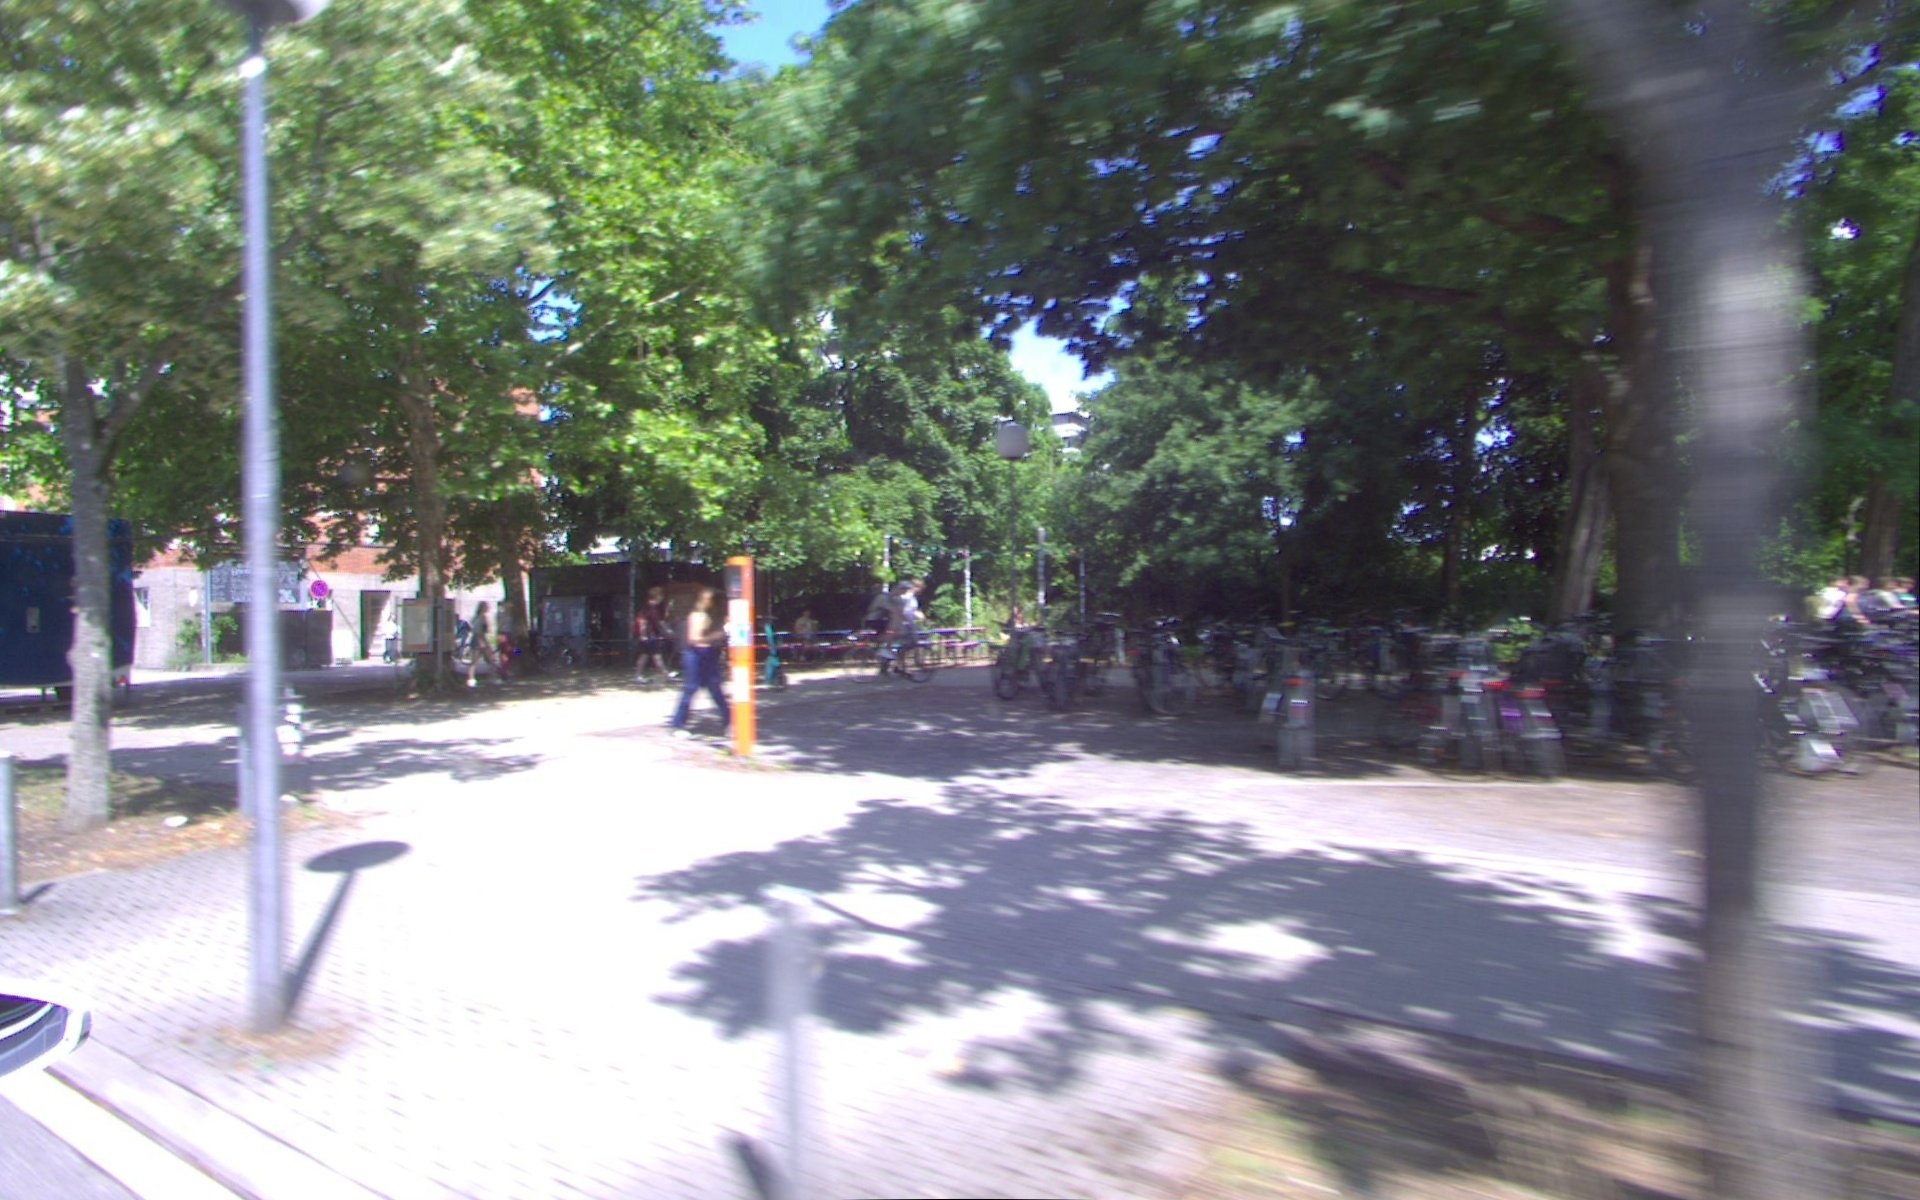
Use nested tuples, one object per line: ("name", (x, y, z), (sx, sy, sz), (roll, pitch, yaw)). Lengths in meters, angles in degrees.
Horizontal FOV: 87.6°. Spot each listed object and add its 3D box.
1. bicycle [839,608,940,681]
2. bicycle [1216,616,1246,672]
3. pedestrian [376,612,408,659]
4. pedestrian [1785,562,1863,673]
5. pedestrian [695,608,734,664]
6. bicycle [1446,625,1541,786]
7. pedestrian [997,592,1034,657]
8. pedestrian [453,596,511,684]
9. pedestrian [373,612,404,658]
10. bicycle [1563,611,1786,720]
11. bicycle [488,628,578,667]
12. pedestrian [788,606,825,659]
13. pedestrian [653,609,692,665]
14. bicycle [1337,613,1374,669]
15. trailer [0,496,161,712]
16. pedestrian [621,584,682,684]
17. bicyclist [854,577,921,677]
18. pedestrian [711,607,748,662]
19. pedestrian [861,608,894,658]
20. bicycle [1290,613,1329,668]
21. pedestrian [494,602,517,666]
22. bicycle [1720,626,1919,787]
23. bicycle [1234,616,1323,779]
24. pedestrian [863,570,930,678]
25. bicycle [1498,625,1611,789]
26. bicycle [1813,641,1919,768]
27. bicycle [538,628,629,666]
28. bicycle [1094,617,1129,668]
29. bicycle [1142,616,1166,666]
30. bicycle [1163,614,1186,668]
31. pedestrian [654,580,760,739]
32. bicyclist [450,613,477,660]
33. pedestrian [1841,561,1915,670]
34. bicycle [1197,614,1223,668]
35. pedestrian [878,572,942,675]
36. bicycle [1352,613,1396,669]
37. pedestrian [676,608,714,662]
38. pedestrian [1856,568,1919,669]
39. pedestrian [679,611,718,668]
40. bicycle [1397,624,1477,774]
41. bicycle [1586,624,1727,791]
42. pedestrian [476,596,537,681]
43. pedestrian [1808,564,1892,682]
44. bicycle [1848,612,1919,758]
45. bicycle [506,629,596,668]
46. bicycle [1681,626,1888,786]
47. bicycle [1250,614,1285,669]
("bicycle", (-1.255, 0.793, 17.870), (1.705, 1.269, 0.531), (-1, 2, 12))
("bicycle", (5.468, 0.866, 20.275), (0.426, 1.053, 1.783), (-1, 0, 10))
("pedestrian", (-19.901, 1.246, 35.080), (0.669, 1.628, 0.657), (-1, 0, 17))
("pedestrian", (14.345, 0.287, 16.646), (0.708, 1.798, 0.744), (0, 1, 16))
("pedestrian", (-6.222, 0.903, 25.362), (0.718, 1.365, 0.568), (0, 3, 27))
("bicycle", (4.221, 0.768, 8.015), (0.397, 1.096, 1.946), (0, 0, 20))
("pedestrian", (1.409, 0.613, 25.537), (0.707, 1.604, 0.665), (0, 3, 27))
("pedestrian", (-9.380, 0.775, 19.664), (0.777, 1.683, 0.696), (-1, 0, 32))
("pedestrian", (-20.472, 1.244, 35.877), (0.669, 1.628, 0.657), (-1, 0, 17))
("bicycle", (7.474, 0.683, 10.540), (1.868, 1.097, 0.478), (-1, 1, 11))
("bicycle", (-12.793, 1.410, 30.049), (0.775, 1.085, 2.382), (-2, -1, 44))
("pedestrian", (-4.103, 0.868, 26.765), (0.708, 1.365, 0.665), (0, 3, 27))
("pedestrian", (-7.237, 0.930, 25.213), (0.718, 1.365, 0.568), (0, 3, 27))
("bicycle", (7.984, 0.813, 20.263), (0.341, 1.053, 1.752), (-1, 0, 10))
("trailer", (-16.154, 0.103, 16.456), (6.165, 3.092, 2.687), (-1, 0, 31))
("pedestrian", (-5.974, 0.650, 19.397), (0.812, 1.879, 0.763), (-1, 0, 32))
("bicyclist", (-1.295, 0.480, 17.867), (1.058, 1.753, 0.531), (-1, 2, 12))
("pedestrian", (-5.953, 0.880, 25.874), (0.718, 1.365, 0.568), (0, 3, 27))
("pedestrian", (-2.207, 0.864, 26.768), (0.612, 1.289, 0.665), (0, 3, 27))
("bicycle", (7.221, 0.812, 20.727), (0.469, 1.053, 1.831), (-1, 0, 10))
("pedestrian", (-13.677, 1.012, 30.126), (0.523, 1.907, 0.445), (0, -1, 42))
("bicycle", (6.697, 0.755, 7.838), (0.319, 1.073, 1.913), (0, 0, 9))
("bicycle", (2.724, 0.738, 8.454), (0.640, 1.182, 2.017), (0, 0, 20))
("pedestrian", (-1.181, 0.446, 18.787), (1.058, 1.975, 0.834), (-1, 2, 11))
("bicycle", (4.622, 0.762, 7.878), (0.397, 1.096, 1.946), (0, 0, 20))
("bicycle", (7.470, 0.804, 7.649), (0.485, 0.921, 1.738), (0, 0, 3))
("bicycle", (-10.939, 1.359, 29.152), (0.775, 1.085, 2.383), (-2, -3, 43))
("bicycle", (3.220, 0.874, 21.166), (0.601, 0.992, 1.958), (-1, 0, 12))
("bicycle", (4.140, 0.848, 21.336), (0.430, 0.992, 1.958), (-1, 0, 12))
("bicycle", (4.536, 0.847, 21.134), (0.427, 1.053, 1.958), (-1, 0, 12))
("pedestrian", (-2.649, 0.604, 10.498), (0.914, 1.592, 0.567), (-1, 1, 32))
("bicyclist", (-17.233, 1.255, 34.763), (0.609, 1.628, 0.659), (0, -1, 4))
("pedestrian", (15.661, 0.258, 17.101), (0.709, 1.798, 0.742), (0, 1, 24))
("bicycle", (5.262, 0.833, 21.115), (0.469, 1.053, 1.958), (-1, 0, 12))
("pedestrian", (-0.979, 0.452, 19.794), (1.058, 1.975, 0.834), (-1, 2, 11))
("bicycle", (8.332, 0.807, 20.199), (0.469, 1.053, 1.752), (-1, 0, 10))
("pedestrian", (-6.861, 0.897, 25.932), (0.718, 1.365, 0.568), (0, 3, 27))
("pedestrian", (16.954, 0.327, 18.171), (0.707, 1.798, 0.744), (0, 1, 6))
("pedestrian", (-6.487, 0.970, 24.850), (0.718, 1.365, 0.568), (0, 3, 27))
("bicycle", (3.967, 0.762, 8.402), (0.431, 1.096, 1.769), (0, 0, 20))
("bicycle", (5.305, 0.747, 7.727), (0.397, 1.096, 1.946), (0, 0, 20))
("pedestrian", (-9.167, 0.761, 20.249), (0.812, 1.683, 0.763), (-1, 0, 32))
("pedestrian", (13.989, 0.353, 15.760), (0.708, 1.798, 0.744), (0, 1, 16))
("bicycle", (7.965, 0.682, 7.784), (0.485, 1.170, 1.738), (0, 0, -5))
("bicycle", (-12.040, 1.413, 29.535), (0.773, 1.085, 2.387), (-1, -1, 38))
("bicycle", (6.398, 0.759, 7.896), (0.319, 1.073, 1.913), (0, 0, 9))
("bicycle", (6.356, 0.832, 20.733), (0.469, 1.053, 1.783), (-1, 0, 10))
